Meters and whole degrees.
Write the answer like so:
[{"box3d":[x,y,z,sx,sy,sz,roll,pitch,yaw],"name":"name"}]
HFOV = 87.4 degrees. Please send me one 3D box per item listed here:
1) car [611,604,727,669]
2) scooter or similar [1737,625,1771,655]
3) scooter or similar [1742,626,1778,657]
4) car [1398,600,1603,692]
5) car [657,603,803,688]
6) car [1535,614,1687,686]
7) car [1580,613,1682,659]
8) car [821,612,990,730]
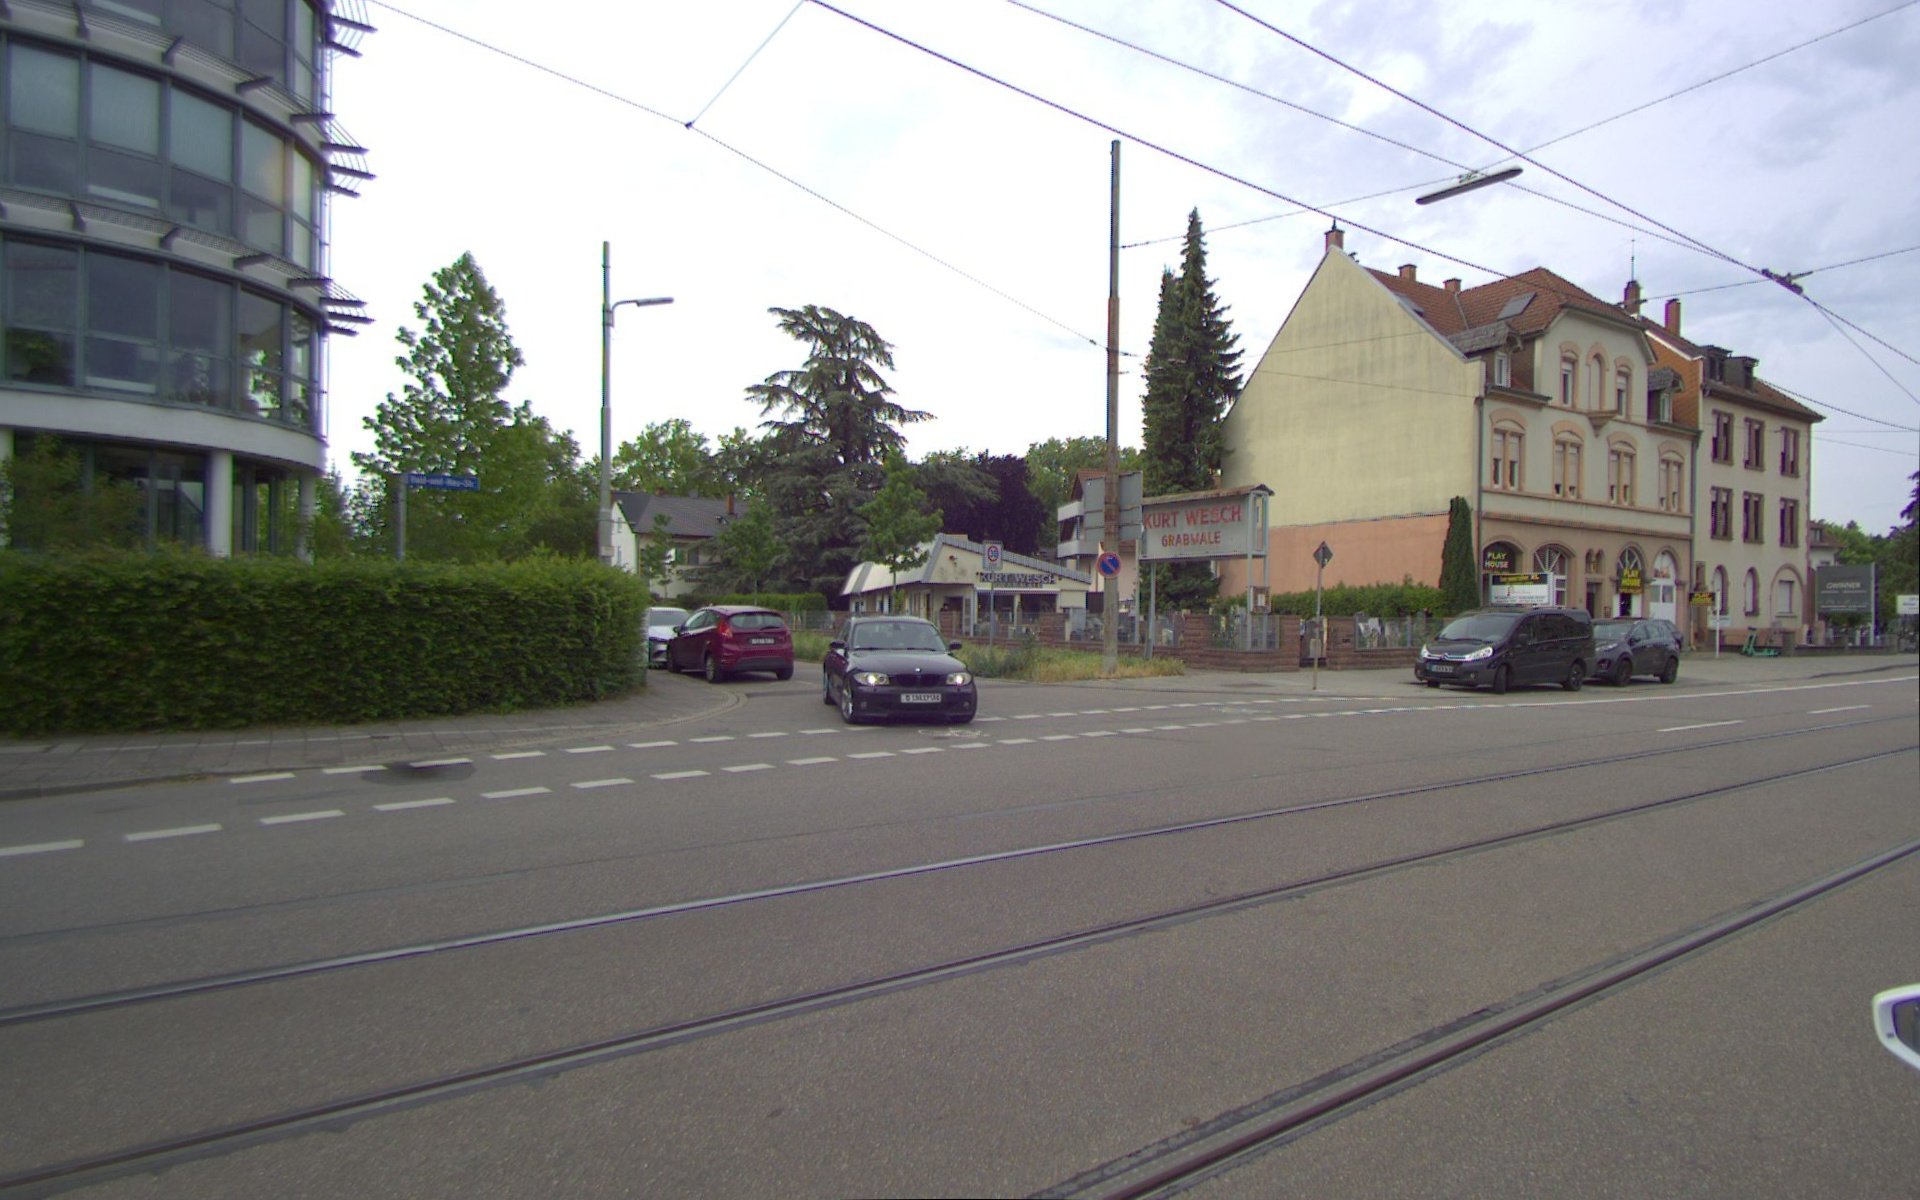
[{"box3d":[-7.174,0.871,24.500,1.811,1.439,3.968,2,-2,-30],"name":"car"},{"box3d":[32.622,1.633,41.280,1.032,1.204,0.318,2,0,25],"name":"scooter or similar"},{"box3d":[32.467,1.673,40.774,1.032,1.204,0.318,2,0,25],"name":"scooter or similar"},{"box3d":[12.663,1.044,23.441,4.942,1.912,1.981,2,0,-32],"name":"car"},{"box3d":[-4.769,0.843,20.484,1.749,1.437,3.687,-1,2,-33],"name":"car"},{"box3d":[17.417,1.306,26.841,4.147,1.740,1.834,2,0,-33],"name":"car"},{"box3d":[24.540,1.318,36.704,3.706,1.520,1.743,2,0,-33],"name":"car"},{"box3d":[-0.920,0.896,14.302,1.771,1.406,3.923,1,-1,-13],"name":"car"}]
